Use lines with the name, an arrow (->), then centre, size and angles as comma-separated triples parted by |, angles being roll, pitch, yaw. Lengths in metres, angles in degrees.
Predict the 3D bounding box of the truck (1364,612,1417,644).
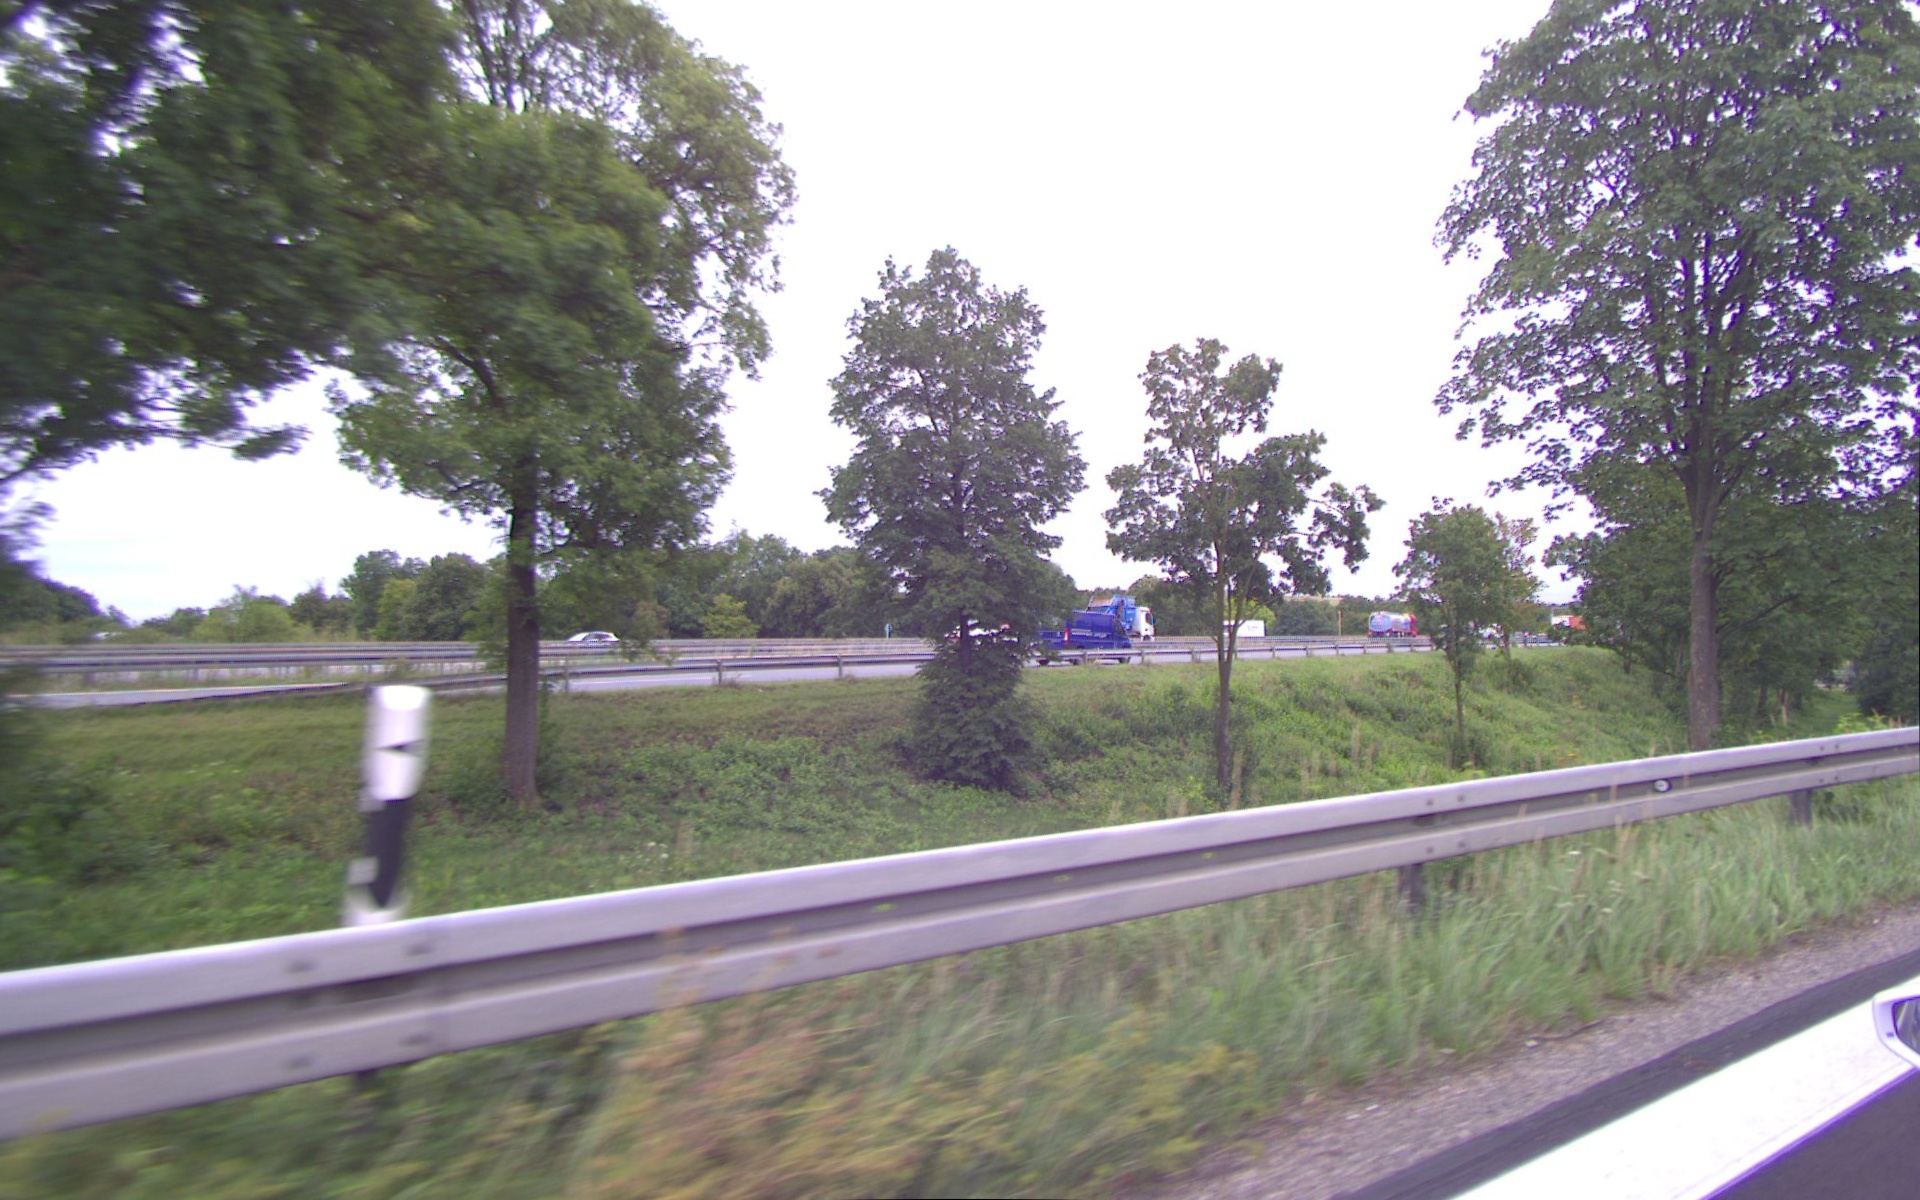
truck -> 47.317, 3.061, 110.296 | 2.824, 3.409, 8.587 | -1, -2, 41

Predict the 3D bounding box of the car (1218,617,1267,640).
car -> 40.349, 4.091, 143.249 | 2.701, 3.021, 10.030 | 0, -2, 42

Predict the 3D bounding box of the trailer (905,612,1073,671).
trailer -> 1.248, 1.510, 37.931 | 2.456, 2.021, 7.028 | 0, -1, 41

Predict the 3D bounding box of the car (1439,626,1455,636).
car -> 100.245, 6.413, 206.757 | 1.971, 1.862, 3.979 | -2, -1, 41

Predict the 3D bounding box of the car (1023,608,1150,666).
car -> 5.529, 1.531, 42.948 | 2.345, 2.296, 6.225 | 0, -1, 41

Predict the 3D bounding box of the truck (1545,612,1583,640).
truck -> 100.132, 4.256, 166.390 | 3.691, 4.476, 10.143 | 0, -1, 41

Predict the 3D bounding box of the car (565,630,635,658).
car -> -23.753, 2.873, 66.330 | 1.849, 1.750, 3.980 | 0, -2, 41

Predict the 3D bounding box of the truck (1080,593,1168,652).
truck -> 11.497, 1.586, 69.946 | 2.608, 3.862, 7.307 | 0, -2, 41
